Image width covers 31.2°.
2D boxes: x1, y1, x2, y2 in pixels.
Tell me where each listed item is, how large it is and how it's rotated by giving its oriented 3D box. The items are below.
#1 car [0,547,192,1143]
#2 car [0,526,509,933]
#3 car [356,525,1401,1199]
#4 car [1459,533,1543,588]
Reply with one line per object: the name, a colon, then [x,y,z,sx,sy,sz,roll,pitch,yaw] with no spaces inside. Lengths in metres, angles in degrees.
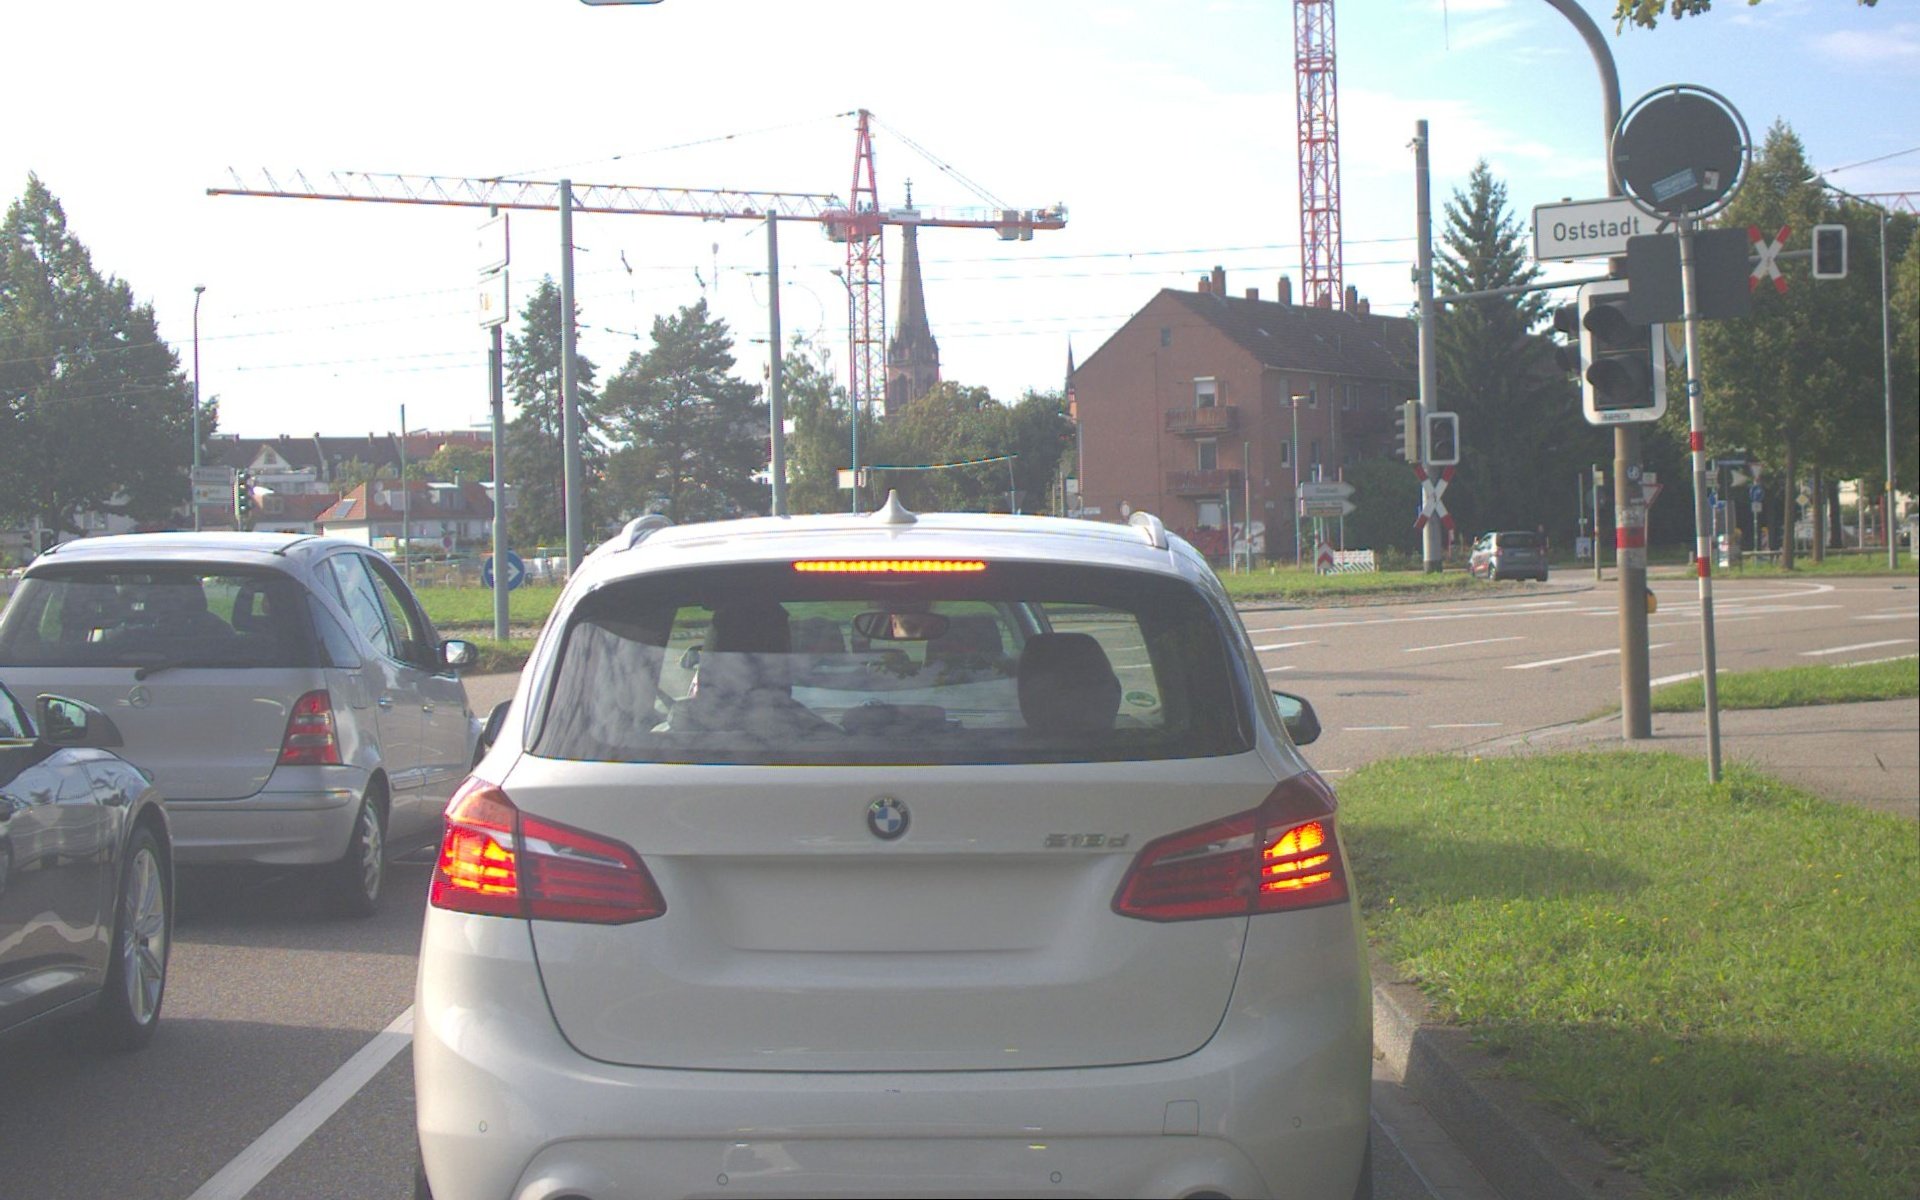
car: [-3.324,0.607,8.473,1.890,1.478,4.613,0,1,-1]
car: [-3.112,0.461,15.161,1.729,1.553,4.058,0,1,0]
car: [-0.163,0.618,7.726,1.729,1.553,4.058,0,1,-1]
car: [15.813,-1.153,100.586,1.569,1.568,3.199,-1,1,-7]
